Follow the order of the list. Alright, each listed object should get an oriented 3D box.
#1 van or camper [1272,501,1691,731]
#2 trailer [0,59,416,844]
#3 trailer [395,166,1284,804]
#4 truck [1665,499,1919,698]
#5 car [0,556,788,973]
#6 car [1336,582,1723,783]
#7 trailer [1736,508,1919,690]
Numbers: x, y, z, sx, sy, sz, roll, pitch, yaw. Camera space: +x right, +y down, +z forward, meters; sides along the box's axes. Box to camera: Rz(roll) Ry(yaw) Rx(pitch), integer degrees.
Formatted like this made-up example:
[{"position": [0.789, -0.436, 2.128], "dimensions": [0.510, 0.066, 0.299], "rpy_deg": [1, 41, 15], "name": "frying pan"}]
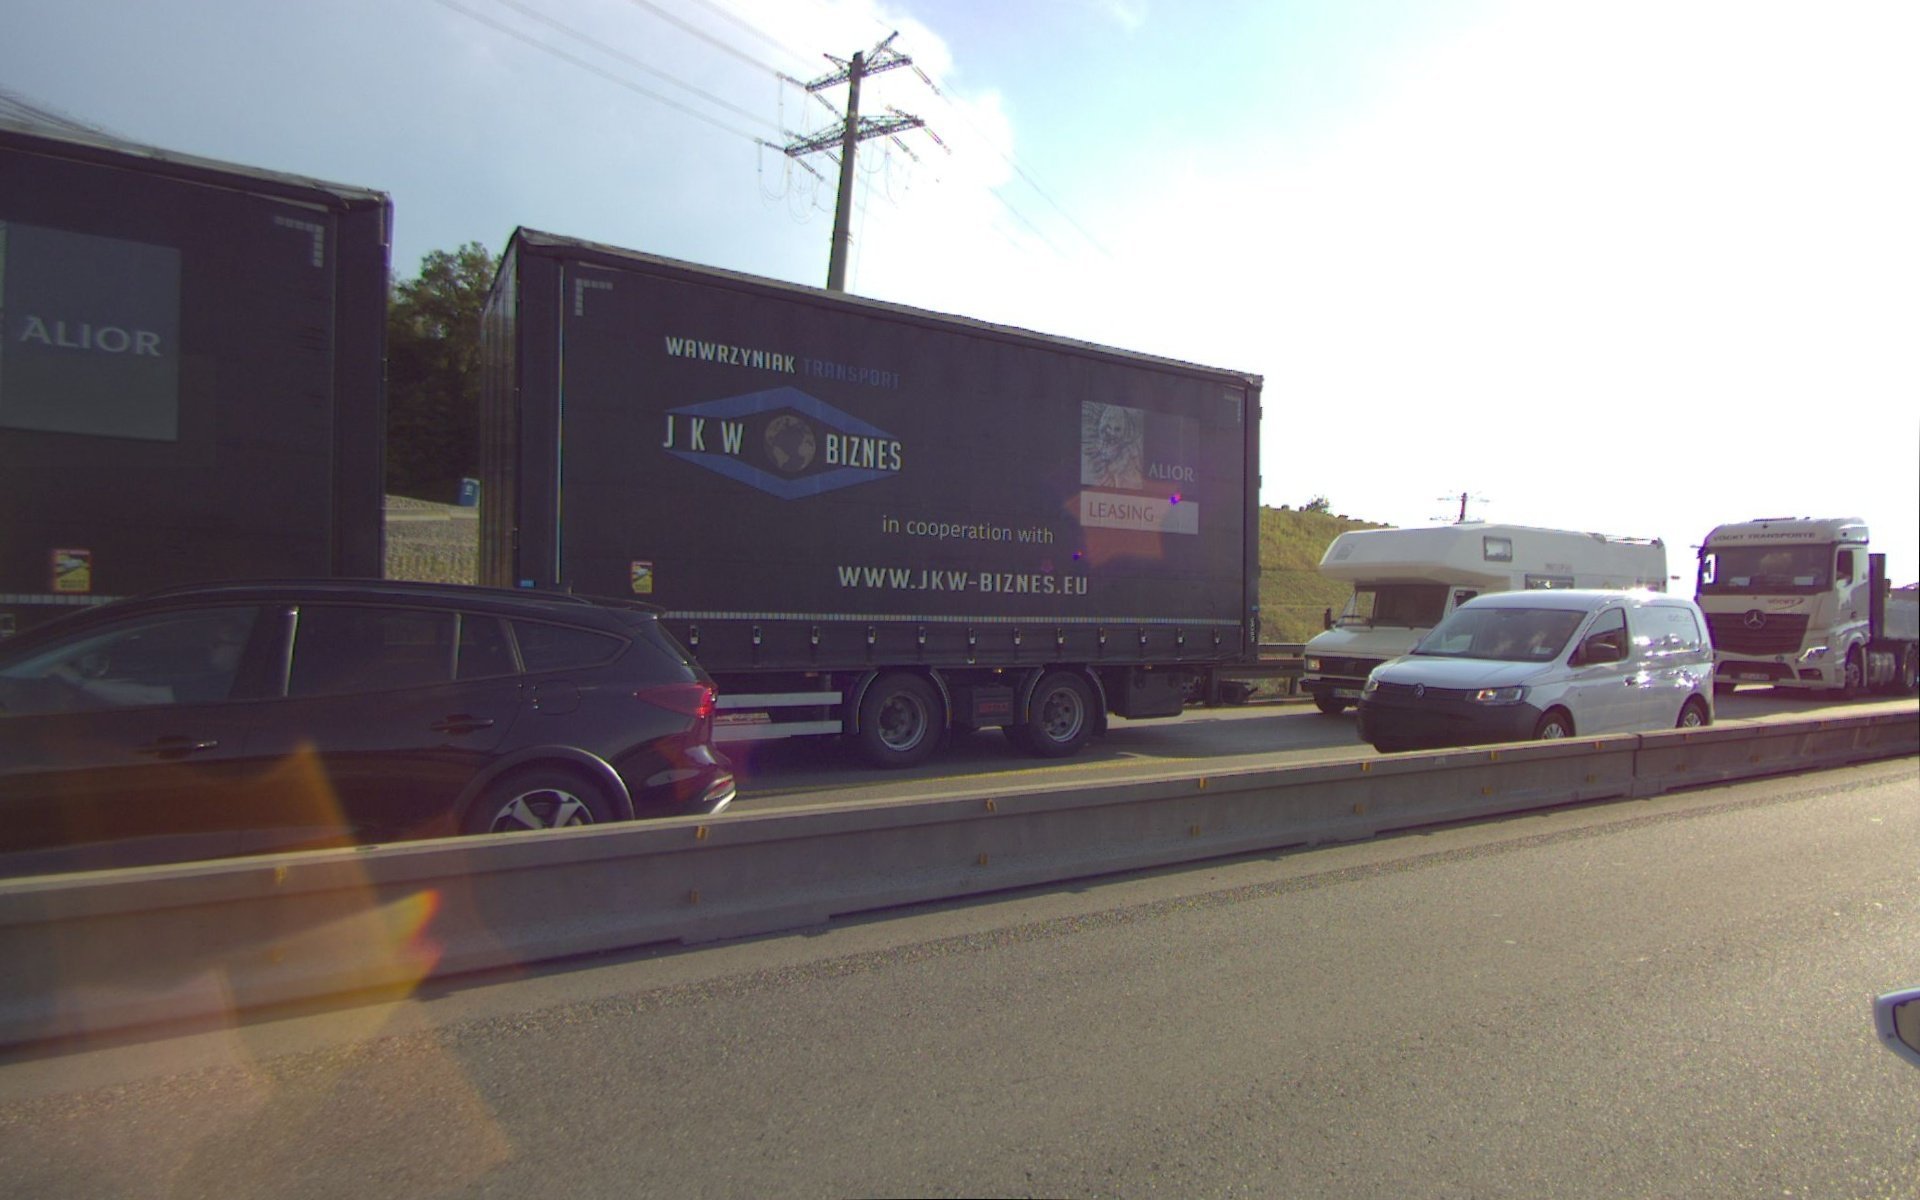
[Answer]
[{"position": [8.439, 0.311, 15.838], "dimensions": [7.535, 2.930, 2.394], "rpy_deg": [2, -1, -33], "name": "van or camper"}, {"position": [-8.729, -0.925, 5.066], "dimensions": [10.388, 4.386, 2.464], "rpy_deg": [2, 0, -30], "name": "trailer"}, {"position": [-0.671, -0.647, 9.950], "dimensions": [8.448, 4.244, 2.430], "rpy_deg": [2, 0, -32], "name": "trailer"}, {"position": [18.425, 0.057, 21.996], "dimensions": [6.446, 3.804, 2.586], "rpy_deg": [2, -1, -33], "name": "truck"}, {"position": [-3.264, 0.607, 4.679], "dimensions": [4.550, 1.498, 1.672], "rpy_deg": [2, -1, -31], "name": "car"}, {"position": [6.072, 0.763, 10.532], "dimensions": [4.407, 1.718, 1.746], "rpy_deg": [2, -1, -34], "name": "car"}, {"position": [24.137, 0.177, 25.714], "dimensions": [13.833, 3.774, 2.504], "rpy_deg": [2, -1, -34], "name": "trailer"}]
